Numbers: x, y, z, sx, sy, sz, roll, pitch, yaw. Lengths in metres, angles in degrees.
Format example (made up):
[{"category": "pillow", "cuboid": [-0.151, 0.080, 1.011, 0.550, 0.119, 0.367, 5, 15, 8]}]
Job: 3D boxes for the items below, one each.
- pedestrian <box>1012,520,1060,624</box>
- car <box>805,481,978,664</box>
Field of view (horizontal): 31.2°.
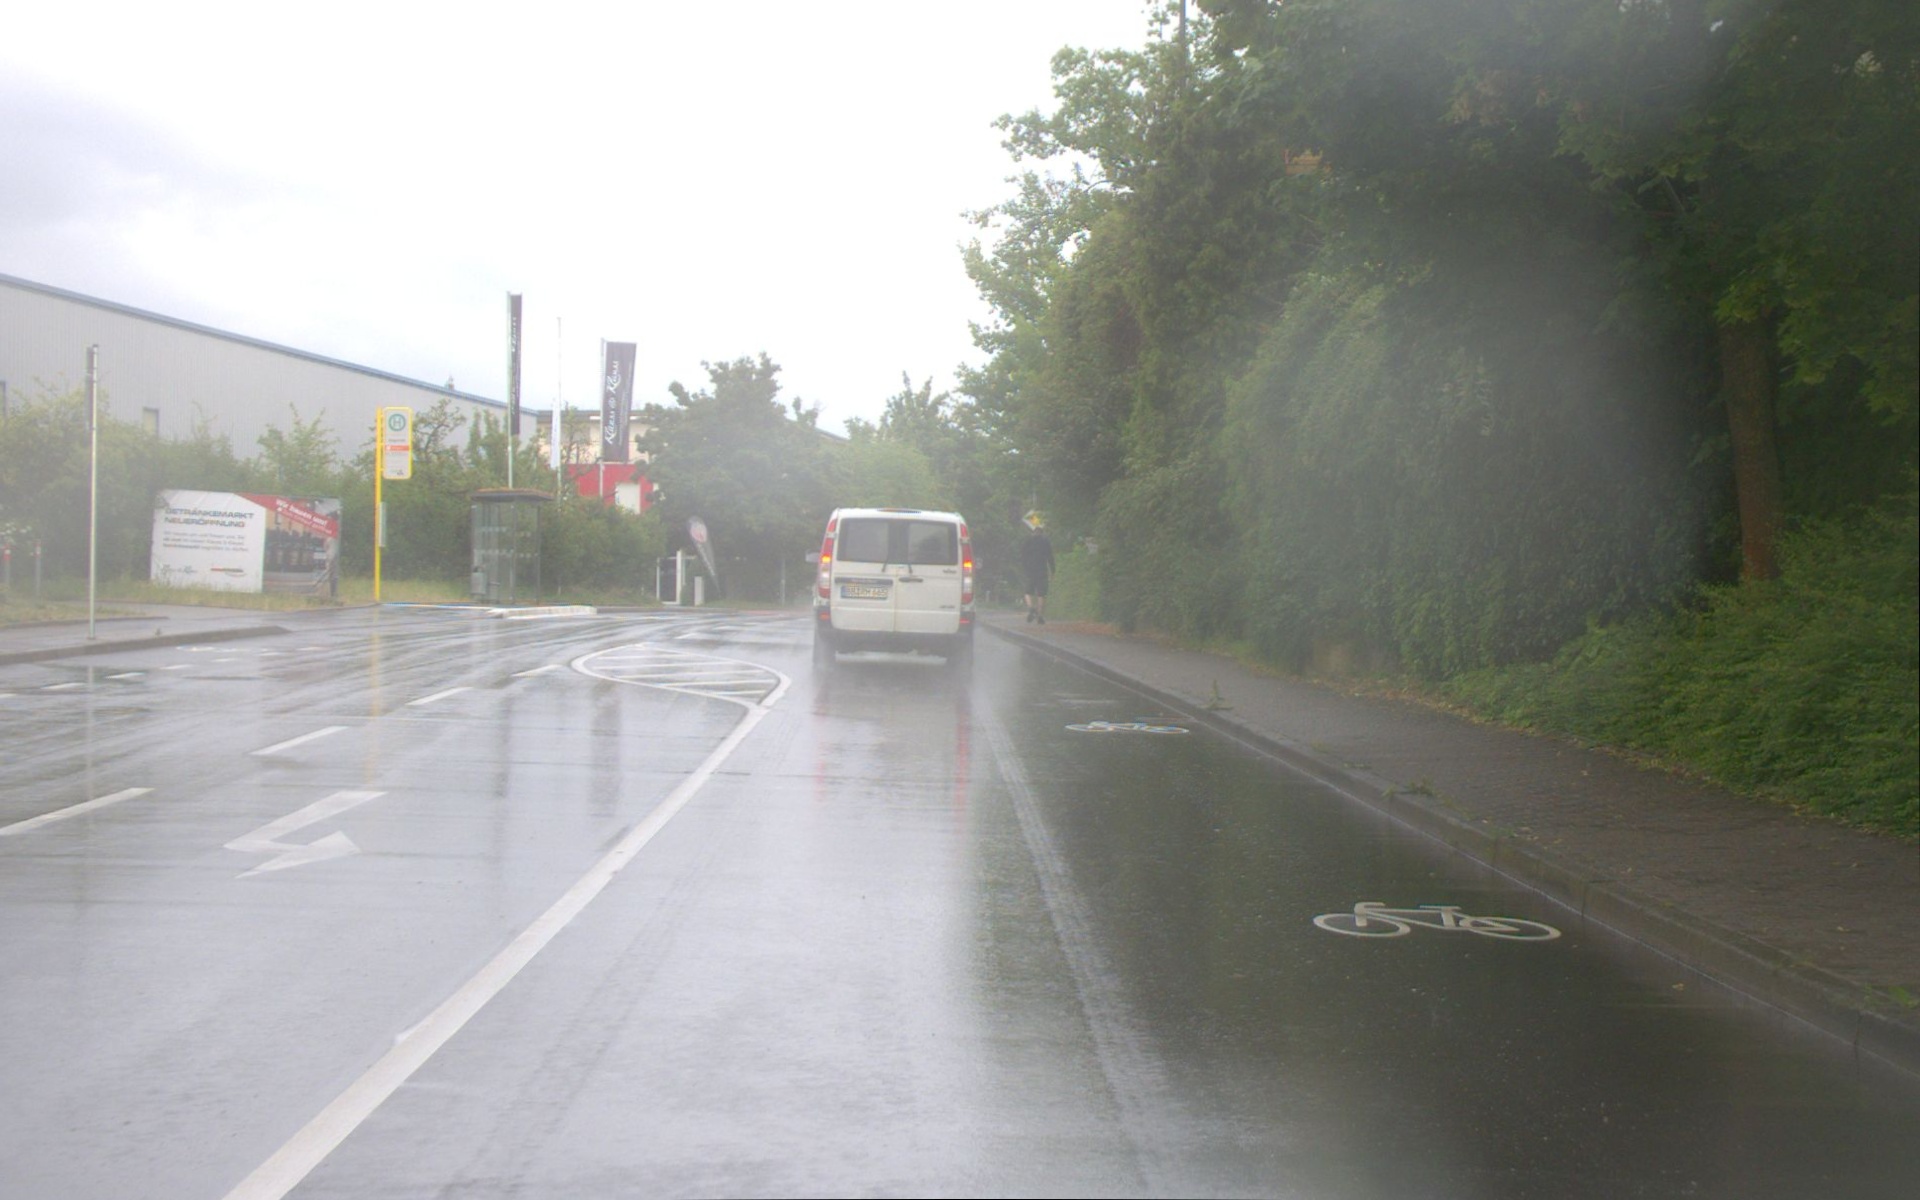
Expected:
[{"category": "pedestrian", "cuboid": [1.407, -0.515, 63.751, 0.776, 1.900, 0.728, -2, 0, -2]}, {"category": "car", "cuboid": [-0.799, -0.347, 41.495, 1.899, 2.011, 5.373, -2, 1, 0]}]
